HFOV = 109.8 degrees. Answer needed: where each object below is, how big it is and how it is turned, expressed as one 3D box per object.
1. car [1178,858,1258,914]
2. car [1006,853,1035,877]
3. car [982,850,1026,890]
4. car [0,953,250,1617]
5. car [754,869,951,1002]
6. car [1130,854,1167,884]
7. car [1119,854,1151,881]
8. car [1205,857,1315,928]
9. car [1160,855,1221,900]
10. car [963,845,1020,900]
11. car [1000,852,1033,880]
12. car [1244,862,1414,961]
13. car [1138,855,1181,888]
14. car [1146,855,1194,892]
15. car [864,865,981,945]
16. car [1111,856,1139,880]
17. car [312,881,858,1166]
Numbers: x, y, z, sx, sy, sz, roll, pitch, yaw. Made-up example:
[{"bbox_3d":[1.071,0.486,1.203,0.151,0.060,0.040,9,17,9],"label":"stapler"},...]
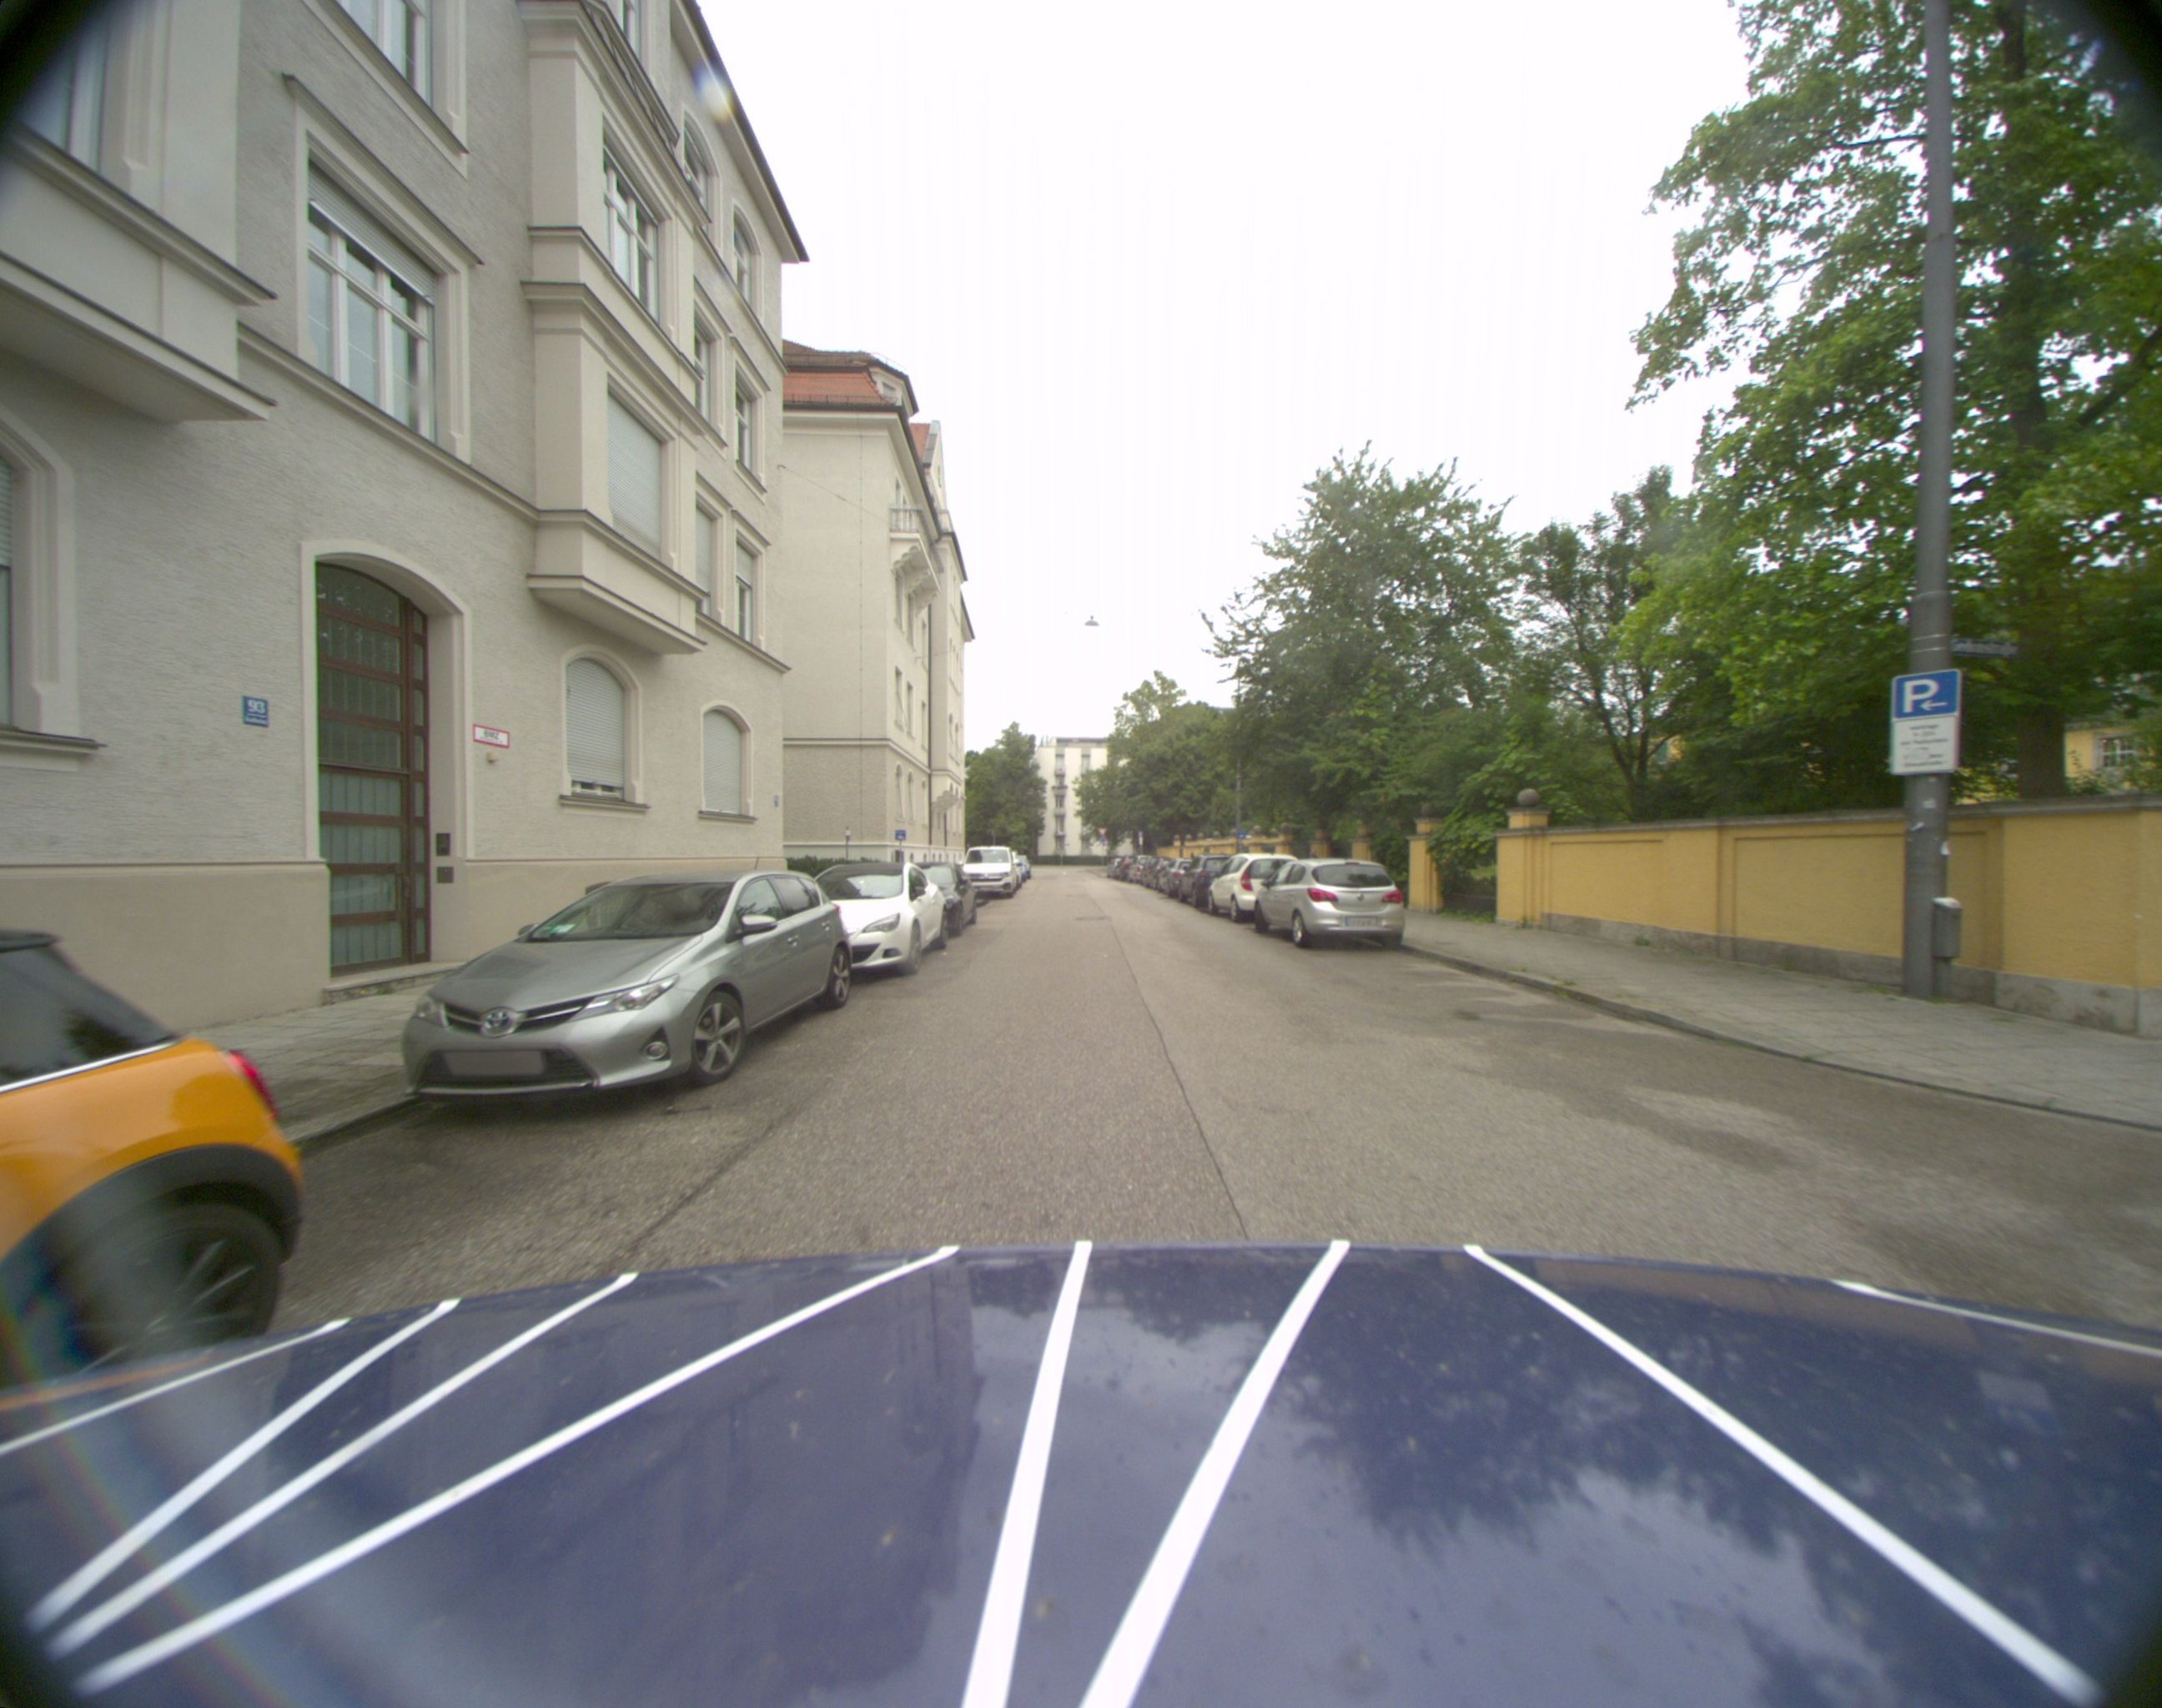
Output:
[{"bbox_3d":[4.151,0.911,23.607,1.653,1.552,3.930,1,0,-1],"label":"car"},{"bbox_3d":[-4.218,0.747,53.283,1.794,1.638,4.084,-1,0,-2],"label":"car"},{"bbox_3d":[-3.606,0.704,35.980,1.794,1.776,4.084,-1,0,-2],"label":"car"},{"bbox_3d":[-3.302,1.005,0.433,1.660,1.431,3.597,0,0,1],"label":"car"},{"bbox_3d":[-3.036,0.997,10.989,1.715,1.462,4.084,-1,0,-2],"label":"car"},{"bbox_3d":[3.755,0.822,43.011,1.653,1.552,3.930,1,0,-1],"label":"car"},{"bbox_3d":[3.342,0.818,47.528,1.653,1.552,3.930,1,0,-1],"label":"car"},{"bbox_3d":[4.267,0.860,18.687,1.705,1.552,3.930,0,0,-1],"label":"car"},{"bbox_3d":[4.087,0.830,29.007,1.653,1.552,3.930,1,0,-1],"label":"car"},{"bbox_3d":[-3.360,0.652,29.242,1.794,1.926,4.084,-1,0,-2],"label":"car"},{"bbox_3d":[-3.918,0.713,46.528,1.794,1.638,4.084,-1,0,-2],"label":"car"},{"bbox_3d":[4.288,0.916,13.820,1.705,1.483,3.955,1,0,-1],"label":"car"},{"bbox_3d":[3.975,0.842,38.937,1.653,1.552,3.930,1,0,-1],"label":"car"},{"bbox_3d":[3.985,0.841,34.590,1.653,1.552,3.930,1,0,-1],"label":"car"},{"bbox_3d":[-3.171,0.968,15.974,1.715,1.382,4.084,-1,0,-2],"label":"car"},{"bbox_3d":[3.051,0.943,53.189,1.653,1.552,3.930,1,0,-1],"label":"car"},{"bbox_3d":[-3.290,0.995,6.137,1.715,1.382,4.000,-1,0,1],"label":"car"}]
